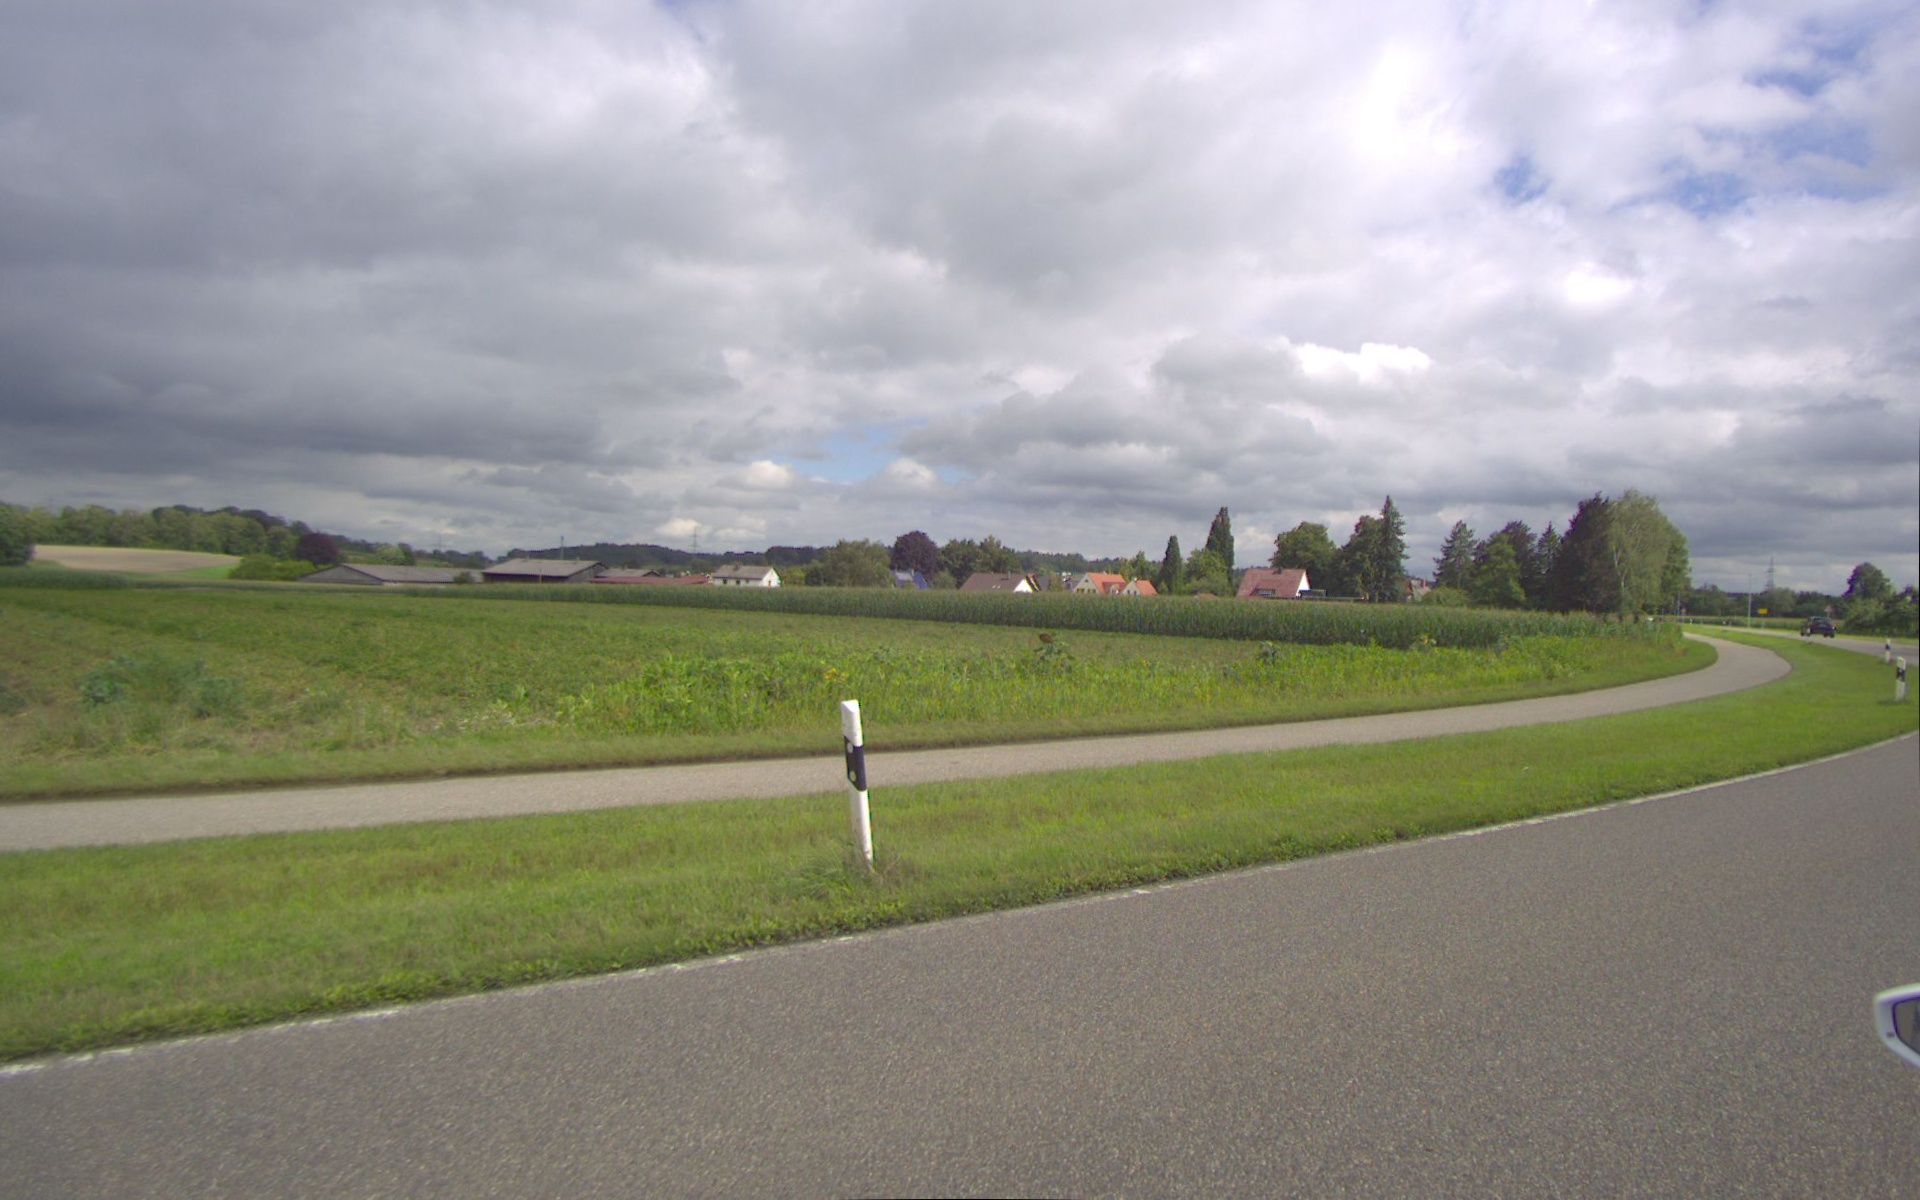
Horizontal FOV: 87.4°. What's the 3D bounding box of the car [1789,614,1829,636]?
[{"bbox_3d":[73.790,2.168,87.366,1.879,1.689,3.991,4,2,31],"label":"car"}]
